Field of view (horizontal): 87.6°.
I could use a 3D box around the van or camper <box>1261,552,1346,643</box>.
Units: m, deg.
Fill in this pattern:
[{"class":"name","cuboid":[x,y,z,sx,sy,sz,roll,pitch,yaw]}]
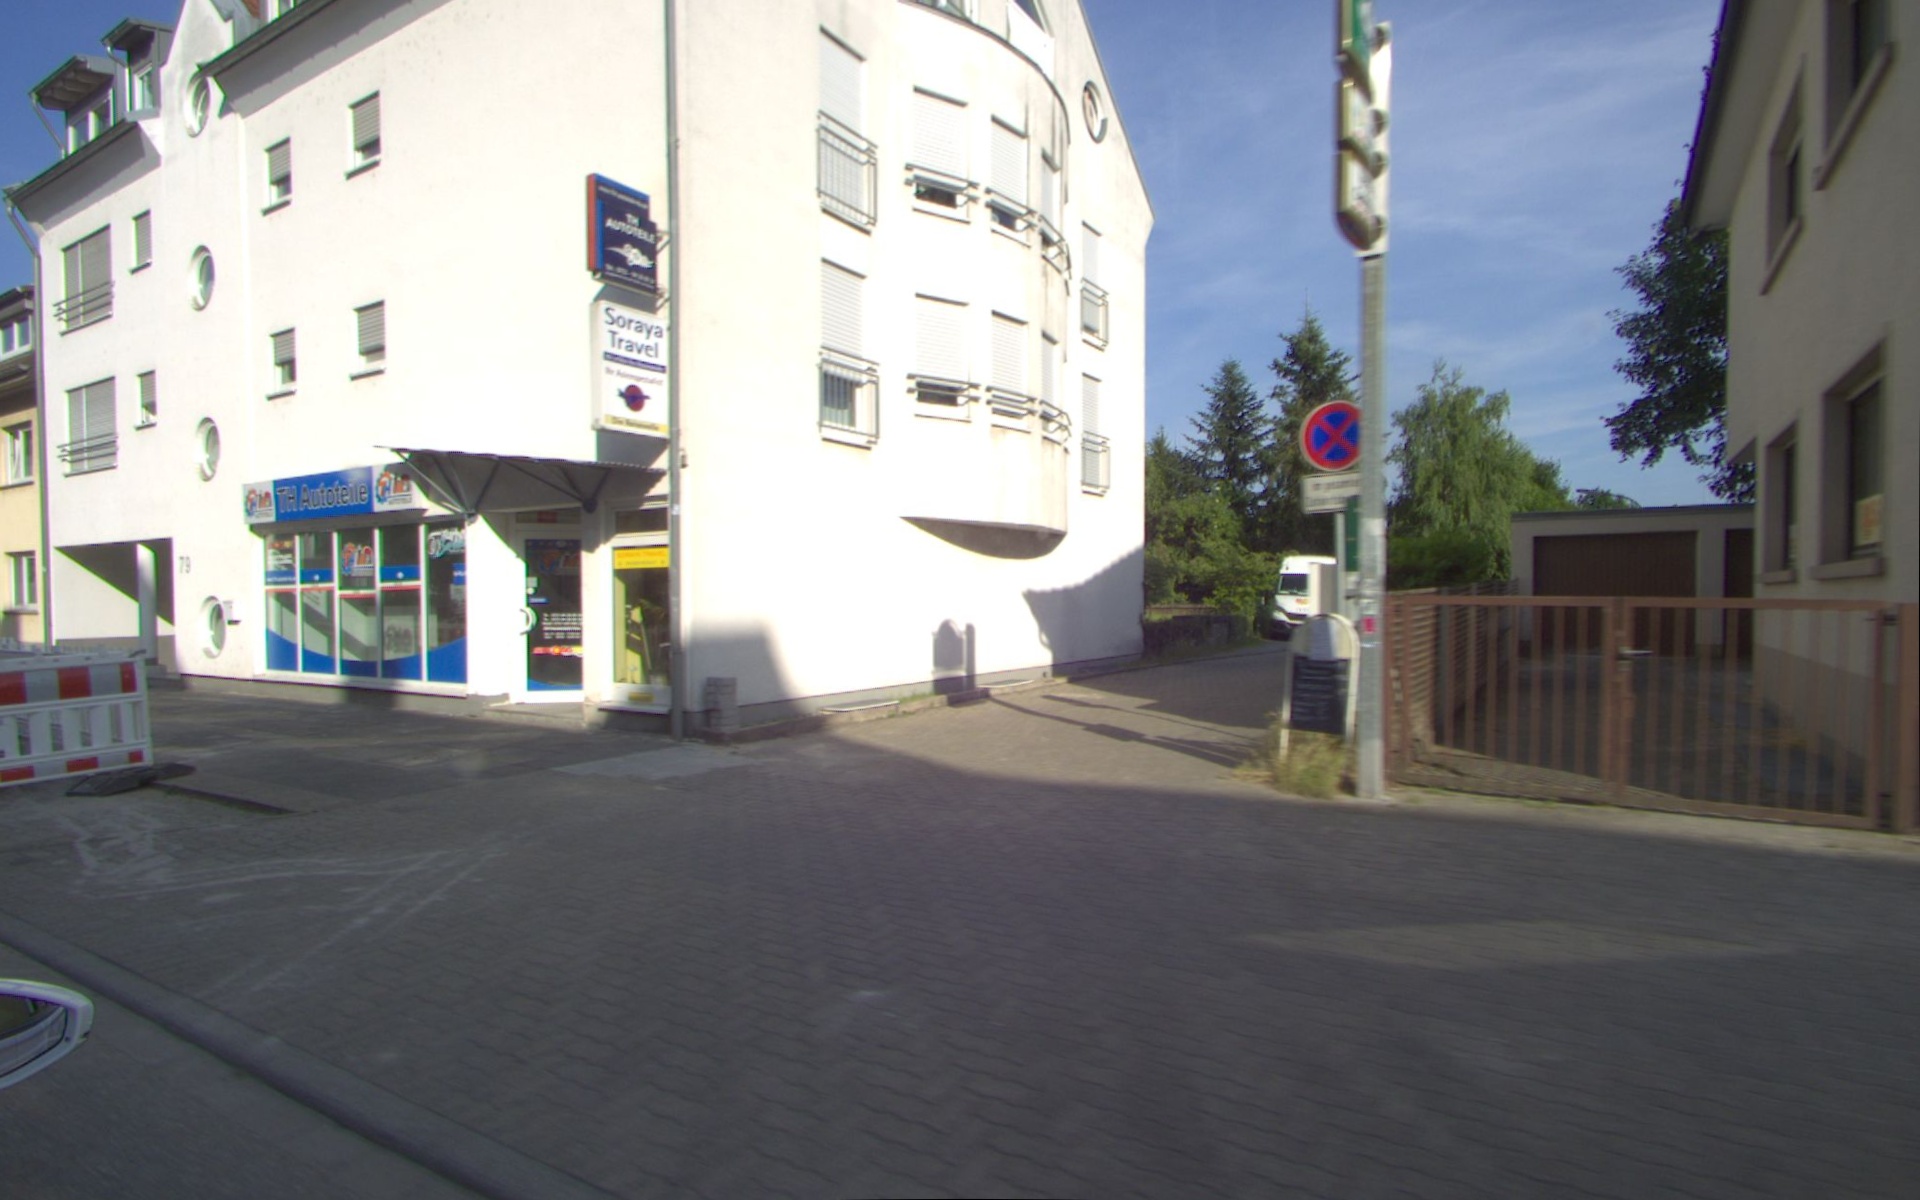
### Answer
[{"class":"van or camper","cuboid":[10.674,-0.095,30.941,1.967,2.563,4.171,2,2,25]}]
